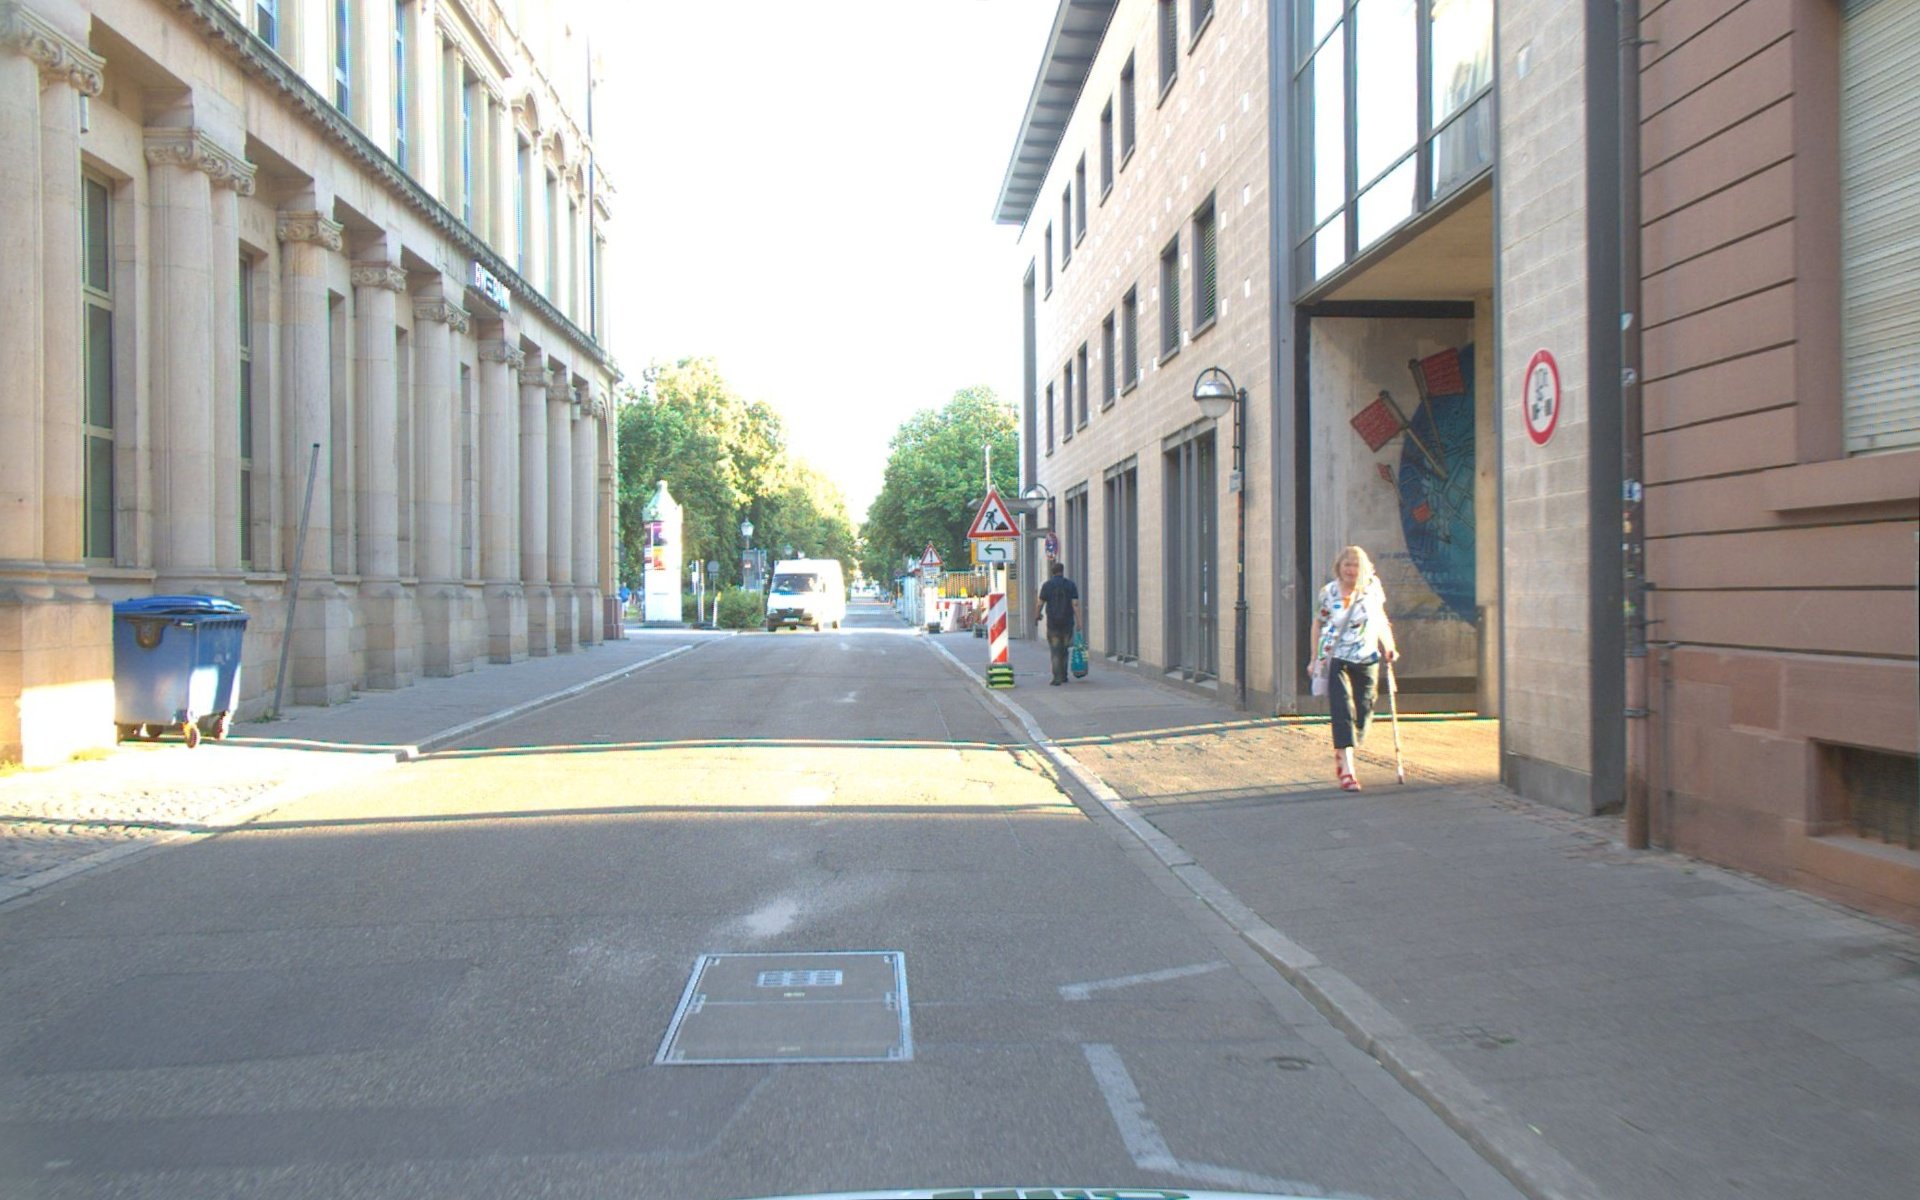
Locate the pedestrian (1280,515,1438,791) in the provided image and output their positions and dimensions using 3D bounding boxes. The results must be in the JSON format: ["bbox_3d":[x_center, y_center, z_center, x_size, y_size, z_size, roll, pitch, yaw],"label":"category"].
[{"bbox_3d":[2.801,0.357,11.708,0.828,1.834,0.897,-3,0,1],"label":"pedestrian"}]

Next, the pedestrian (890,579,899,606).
[{"bbox_3d":[-4.929,-0.575,123.658,0.571,2.049,0.680,0,0,-12],"label":"pedestrian"}]

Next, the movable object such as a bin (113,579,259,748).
[{"bbox_3d":[-7.265,0.567,15.588,0.812,1.529,1.290,0,1,-3],"label":"movable object such as a bin"}]

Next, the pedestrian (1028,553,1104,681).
[{"bbox_3d":[1.577,0.250,24.699,0.981,1.835,0.881,-2,0,-4],"label":"pedestrian"}]

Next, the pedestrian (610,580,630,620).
[{"bbox_3d":[-15.782,-0.015,76.807,0.836,1.839,0.661,0,0,-17],"label":"pedestrian"}]

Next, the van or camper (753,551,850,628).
[{"bbox_3d":[-5.619,-0.400,59.529,2.172,2.630,6.377,0,1,6],"label":"van or camper"}]

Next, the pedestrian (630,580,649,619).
[{"bbox_3d":[-14.951,-0.023,77.151,0.836,1.839,0.661,0,0,-17],"label":"pedestrian"}]
